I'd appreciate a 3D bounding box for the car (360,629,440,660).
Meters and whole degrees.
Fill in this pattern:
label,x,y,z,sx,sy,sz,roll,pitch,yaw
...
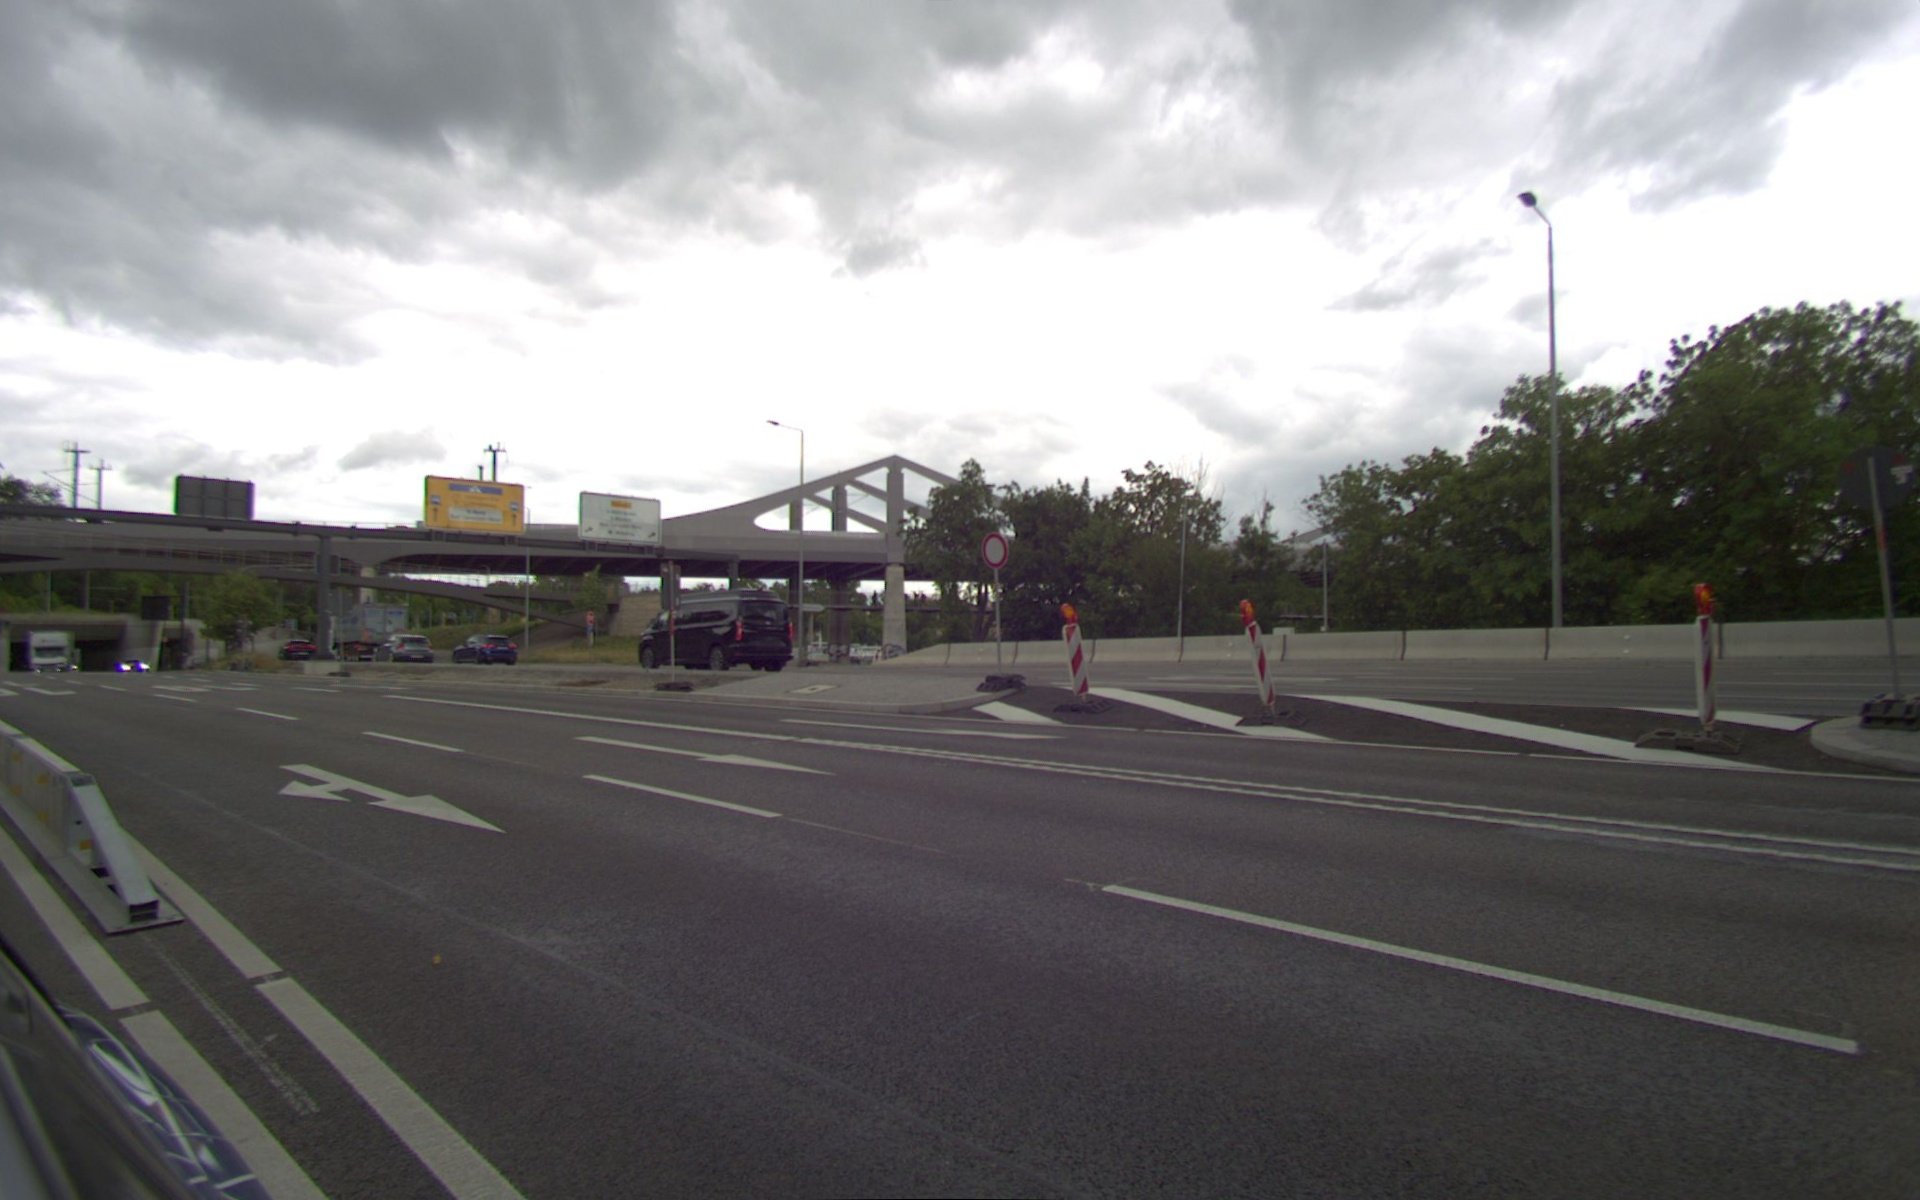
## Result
label,x,y,z,sx,sy,sz,roll,pitch,yaw
car,-25.516,2.033,46.061,4.255,1.341,1.866,-2,-5,41

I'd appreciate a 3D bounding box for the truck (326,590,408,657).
label,x,y,z,sx,sy,sz,roll,pitch,yaw
truck,-40.413,1.797,68.663,2.861,4.093,14.016,2,-4,-38

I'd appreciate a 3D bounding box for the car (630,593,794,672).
label,x,y,z,sx,sy,sz,roll,pitch,yaw
car,-7.004,0.896,28.227,5.190,2.029,1.941,-2,-2,43

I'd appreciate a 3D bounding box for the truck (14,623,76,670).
label,x,y,z,sx,sy,sz,roll,pitch,yaw
truck,-66.088,3.338,73.049,8.120,3.151,2.711,-3,-2,43

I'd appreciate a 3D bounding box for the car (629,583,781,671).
label,x,y,z,sx,sy,sz,roll,pitch,yaw
car,-8.994,0.965,35.264,6.146,2.798,2.190,-3,-2,44

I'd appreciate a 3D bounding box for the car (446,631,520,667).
label,x,y,z,sx,sy,sz,roll,pitch,yaw
car,-24.666,2.530,52.245,4.486,1.697,1.866,-3,-2,41

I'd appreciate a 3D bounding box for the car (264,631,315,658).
label,x,y,z,sx,sy,sz,roll,pitch,yaw
car,-44.186,2.954,66.670,4.452,1.633,1.687,-3,-7,43
